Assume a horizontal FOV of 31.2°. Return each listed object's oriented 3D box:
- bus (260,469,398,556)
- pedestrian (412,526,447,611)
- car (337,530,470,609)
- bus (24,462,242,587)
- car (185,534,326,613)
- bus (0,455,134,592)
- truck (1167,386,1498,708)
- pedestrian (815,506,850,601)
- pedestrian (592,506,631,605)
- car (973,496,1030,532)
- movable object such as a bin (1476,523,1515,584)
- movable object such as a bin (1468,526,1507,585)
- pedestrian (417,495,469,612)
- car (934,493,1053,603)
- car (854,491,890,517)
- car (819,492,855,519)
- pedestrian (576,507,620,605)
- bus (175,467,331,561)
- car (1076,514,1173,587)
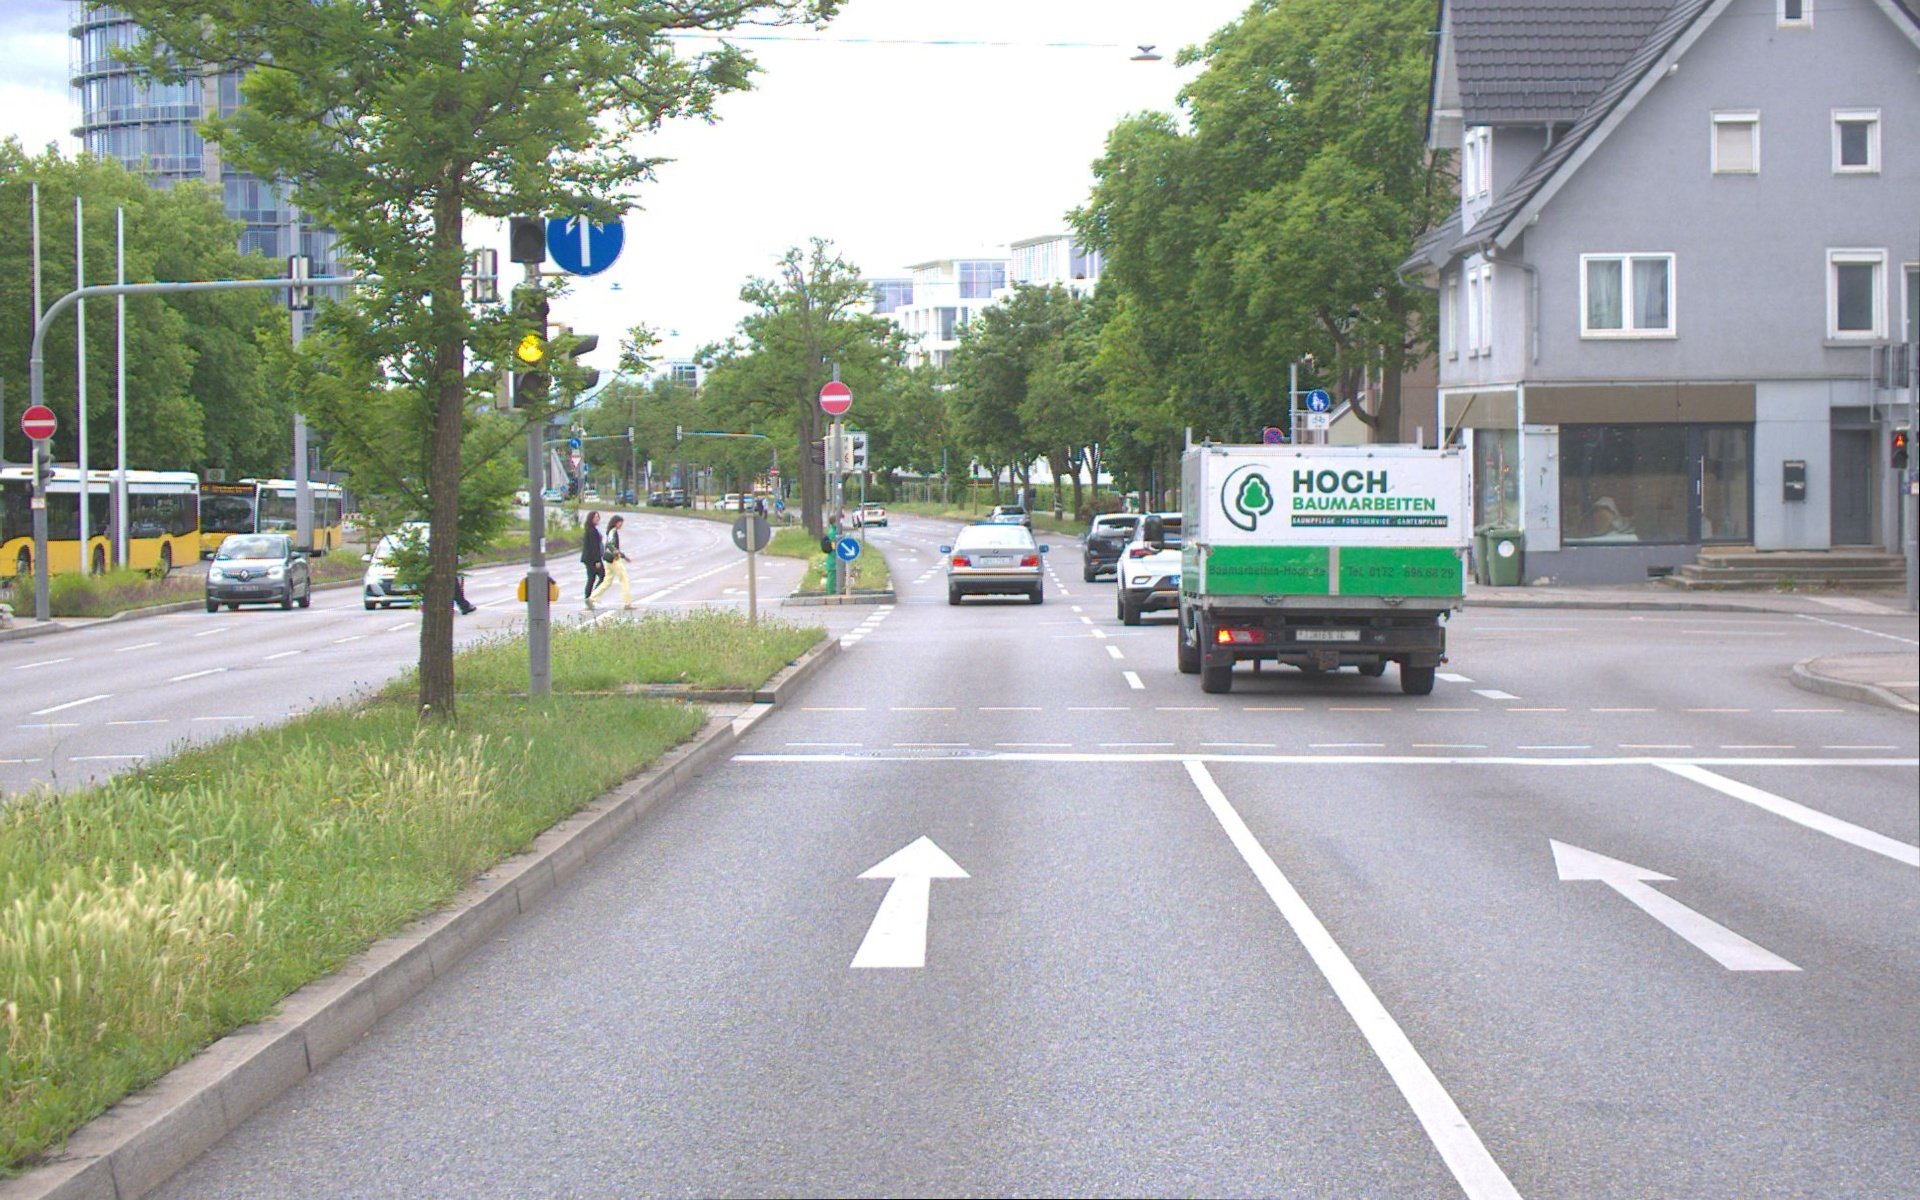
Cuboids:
[{"bbox_3d":[-26.171,-3.632,143.163,2.832,3.419,10.732,-1,1,5],"label":"bus"},{"bbox_3d":[-9.352,-0.555,60.649,0.543,1.491,0.487,-1,1,-4],"label":"pedestrian"},{"bbox_3d":[-11.092,-0.629,68.764,1.993,1.481,4.000,-1,1,0],"label":"car"},{"bbox_3d":[-24.054,-2.210,100.670,2.832,3.419,10.732,-1,1,5],"label":"bus"},{"bbox_3d":[-14.120,-0.556,69.074,1.993,1.481,4.000,-1,1,0],"label":"car"},{"bbox_3d":[-24.967,-1.990,90.616,2.832,3.419,10.732,-1,1,5],"label":"bus"},{"bbox_3d":[3.236,-0.573,31.344,2.471,2.602,6.548,1,2,2],"label":"truck"},{"bbox_3d":[-2.328,-0.855,62.868,0.583,1.710,0.546,-1,1,-5],"label":"pedestrian"},{"bbox_3d":[-6.062,-0.778,59.828,0.653,1.710,0.452,-1,1,-5],"label":"pedestrian"},{"bbox_3d":[1.876,-3.919,156.947,1.993,1.546,4.001,-1,1,-8],"label":"car"},{"bbox_3d":[9.451,-0.821,60.737,0.604,1.056,0.589,1,1,3],"label":"movable object such as a bin"},{"bbox_3d":[9.437,-0.799,61.559,0.616,1.039,0.589,1,1,3],"label":"movable object such as a bin"},{"bbox_3d":[-8.990,-0.812,59.770,0.830,2.007,0.546,-1,1,-5],"label":"pedestrian"},{"bbox_3d":[0.596,-0.940,59.986,1.993,1.824,4.000,0,2,1],"label":"car"},{"bbox_3d":[-5.178,-5.618,201.464,1.993,1.514,4.001,-1,2,-2],"label":"car"},{"bbox_3d":[-6.943,-5.333,193.981,1.993,1.514,4.001,-1,2,-2],"label":"car"},{"bbox_3d":[-6.377,-0.776,60.597,0.745,1.710,0.583,-1,1,-5],"label":"pedestrian"},{"bbox_3d":[-27.130,-3.292,132.452,2.832,3.419,10.732,-1,1,5],"label":"bus"},{"bbox_3d":[3.608,-1.114,76.060,1.993,1.546,4.000,1,1,1],"label":"car"}]
